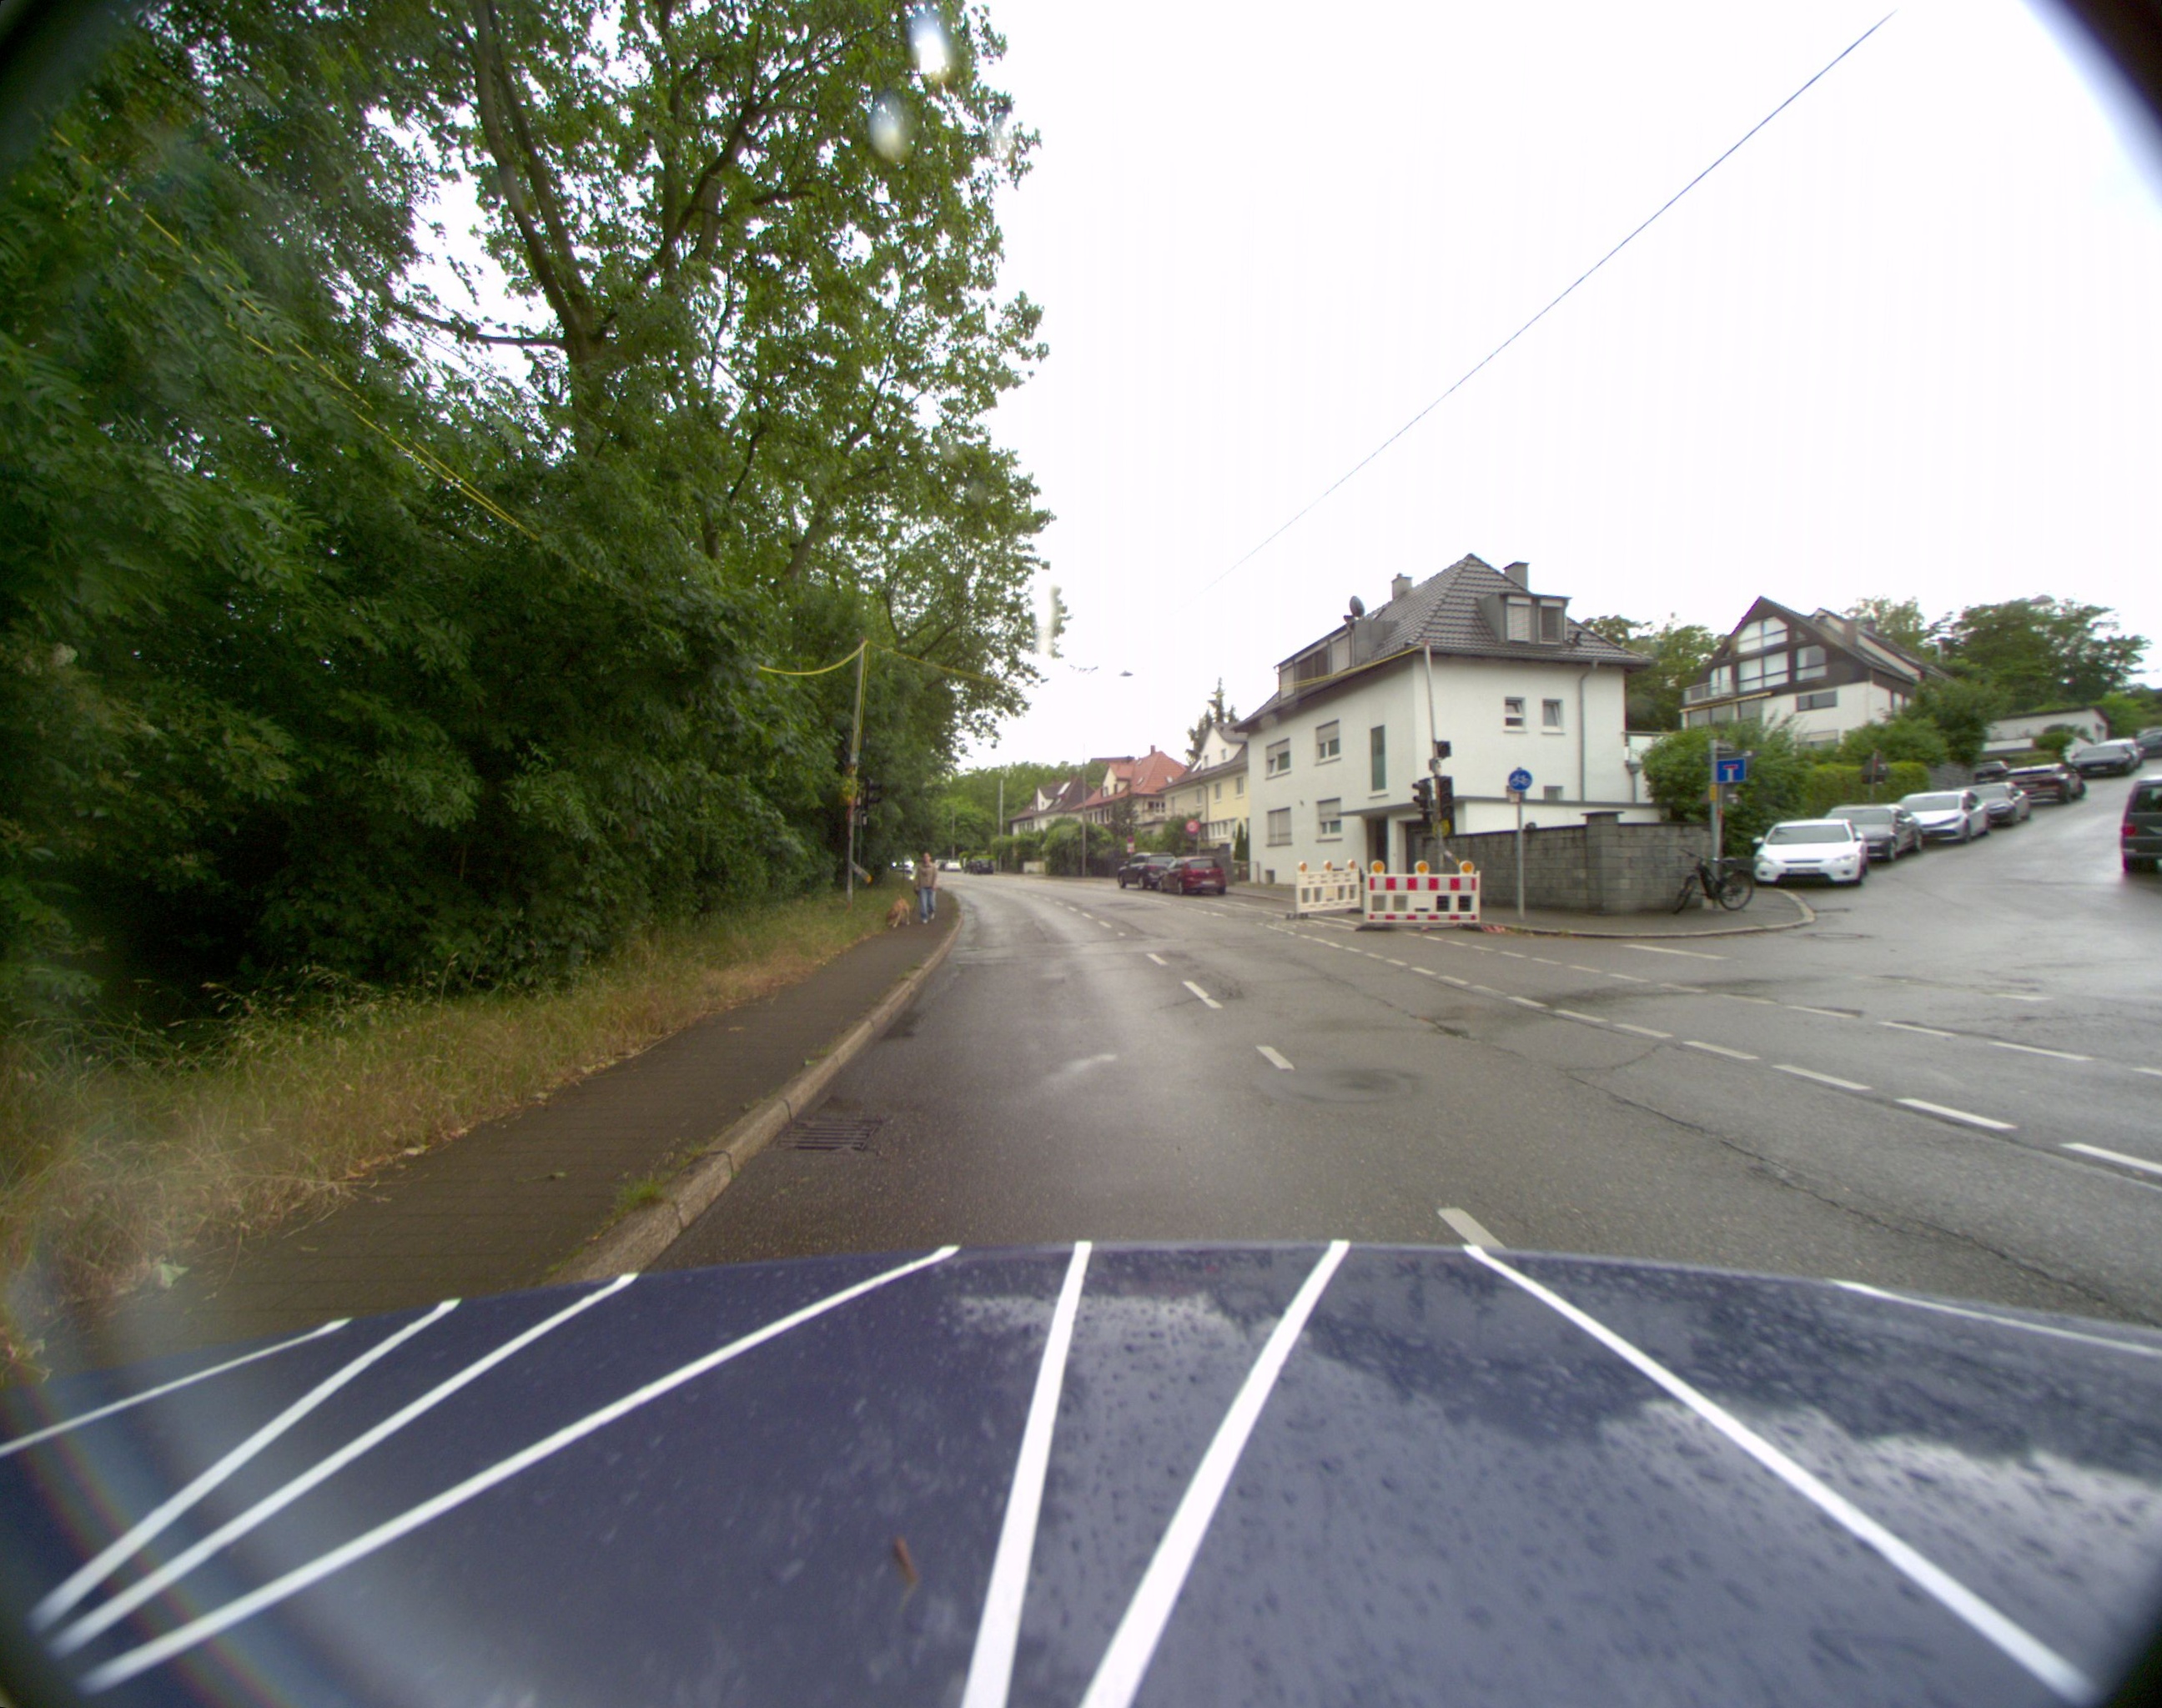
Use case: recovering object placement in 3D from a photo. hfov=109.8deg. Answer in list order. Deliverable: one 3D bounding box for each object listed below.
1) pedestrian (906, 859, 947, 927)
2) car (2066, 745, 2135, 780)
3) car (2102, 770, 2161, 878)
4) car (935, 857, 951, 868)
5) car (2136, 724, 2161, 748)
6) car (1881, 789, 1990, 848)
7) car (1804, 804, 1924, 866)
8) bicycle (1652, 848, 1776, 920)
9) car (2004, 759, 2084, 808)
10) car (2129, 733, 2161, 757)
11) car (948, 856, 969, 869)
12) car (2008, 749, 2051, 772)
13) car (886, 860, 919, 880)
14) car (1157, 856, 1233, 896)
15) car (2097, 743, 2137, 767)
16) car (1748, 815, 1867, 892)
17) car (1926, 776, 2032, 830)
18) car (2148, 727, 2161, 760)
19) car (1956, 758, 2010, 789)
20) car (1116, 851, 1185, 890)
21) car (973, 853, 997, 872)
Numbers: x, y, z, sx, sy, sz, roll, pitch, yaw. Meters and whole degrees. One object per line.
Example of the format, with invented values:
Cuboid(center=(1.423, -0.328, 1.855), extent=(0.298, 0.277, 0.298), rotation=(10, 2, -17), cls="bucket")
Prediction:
Cuboid(center=(-3.476, 0.863, 17.152), extent=(0.735, 1.490, 0.785), rotation=(-2, 1, -1), cls="pedestrian")
Cuboid(center=(54.818, -4.886, 40.842), extent=(4.034, 1.511, 1.786), rotation=(-2, 0, -31), cls="car")
Cuboid(center=(23.887, -0.755, 16.261), extent=(4.497, 2.003, 1.996), rotation=(-7, 3, -31), cls="car")
Cuboid(center=(-18.741, 1.129, 103.011), extent=(1.691, 1.419, 3.770), rotation=(-2, 0, -17), cls="car")
Cuboid(center=(81.120, -8.877, 55.961), extent=(1.754, 1.508, 3.961), rotation=(-3, 1, -35), cls="car")
Cuboid(center=(27.273, -1.157, 24.232), extent=(3.951, 1.462, 1.755), rotation=(-7, 3, -33), cls="car")
Cuboid(center=(22.468, -0.561, 21.759), extent=(3.910, 1.380, 1.719), rotation=(-7, 3, -34), cls="car")
Cuboid(center=(11.591, 0.534, 13.935), extent=(2.006, 1.233, 0.510), rotation=(-2, 3, -8), cls="bicycle")
Cuboid(center=(40.722, -2.989, 32.113), extent=(4.004, 1.617, 1.638), rotation=(-8, 4, -32), cls="car")
Cuboid(center=(68.327, -6.945, 47.699), extent=(1.286, 1.310, 2.945), rotation=(-3, 1, -36), cls="car")
Cuboid(center=(-15.233, 1.069, 94.175), extent=(2.071, 1.477, 4.556), rotation=(-2, 0, -16), cls="car")
Cuboid(center=(57.242, -5.646, 45.866), extent=(3.656, 1.205, 1.577), rotation=(-7, 3, -38), cls="car")
Cuboid(center=(-18.315, 1.663, 77.808), extent=(2.106, 1.908, 5.079), rotation=(-2, 0, -27), cls="car")
Cuboid(center=(4.386, 0.815, 29.905), extent=(1.787, 1.423, 3.844), rotation=(-2, 0, -10), cls="car")
Cuboid(center=(59.840, -5.749, 43.899), extent=(2.988, 1.191, 1.305), rotation=(-6, 3, -35), cls="car")
Cuboid(center=(17.780, -0.051, 18.537), extent=(4.126, 1.455, 1.849), rotation=(-7, 4, -43), cls="car")
Cuboid(center=(32.331, -1.836, 27.334), extent=(4.111, 1.430, 1.921), rotation=(-9, 4, -33), cls="car")
Cuboid(center=(72.467, -7.456, 48.983), extent=(2.003, 2.000, 3.993), rotation=(-2, -4, -32), cls="car")
Cuboid(center=(52.870, -4.656, 44.518), extent=(4.020, 1.545, 1.812), rotation=(-3, 1, -37), cls="car")
Cuboid(center=(3.133, 0.729, 35.033), extent=(1.798, 1.630, 4.150), rotation=(-1, 0, -15), cls="car")
Cuboid(center=(-9.606, 0.840, 75.955), extent=(1.882, 1.814, 4.121), rotation=(-2, 0, -14), cls="car")
